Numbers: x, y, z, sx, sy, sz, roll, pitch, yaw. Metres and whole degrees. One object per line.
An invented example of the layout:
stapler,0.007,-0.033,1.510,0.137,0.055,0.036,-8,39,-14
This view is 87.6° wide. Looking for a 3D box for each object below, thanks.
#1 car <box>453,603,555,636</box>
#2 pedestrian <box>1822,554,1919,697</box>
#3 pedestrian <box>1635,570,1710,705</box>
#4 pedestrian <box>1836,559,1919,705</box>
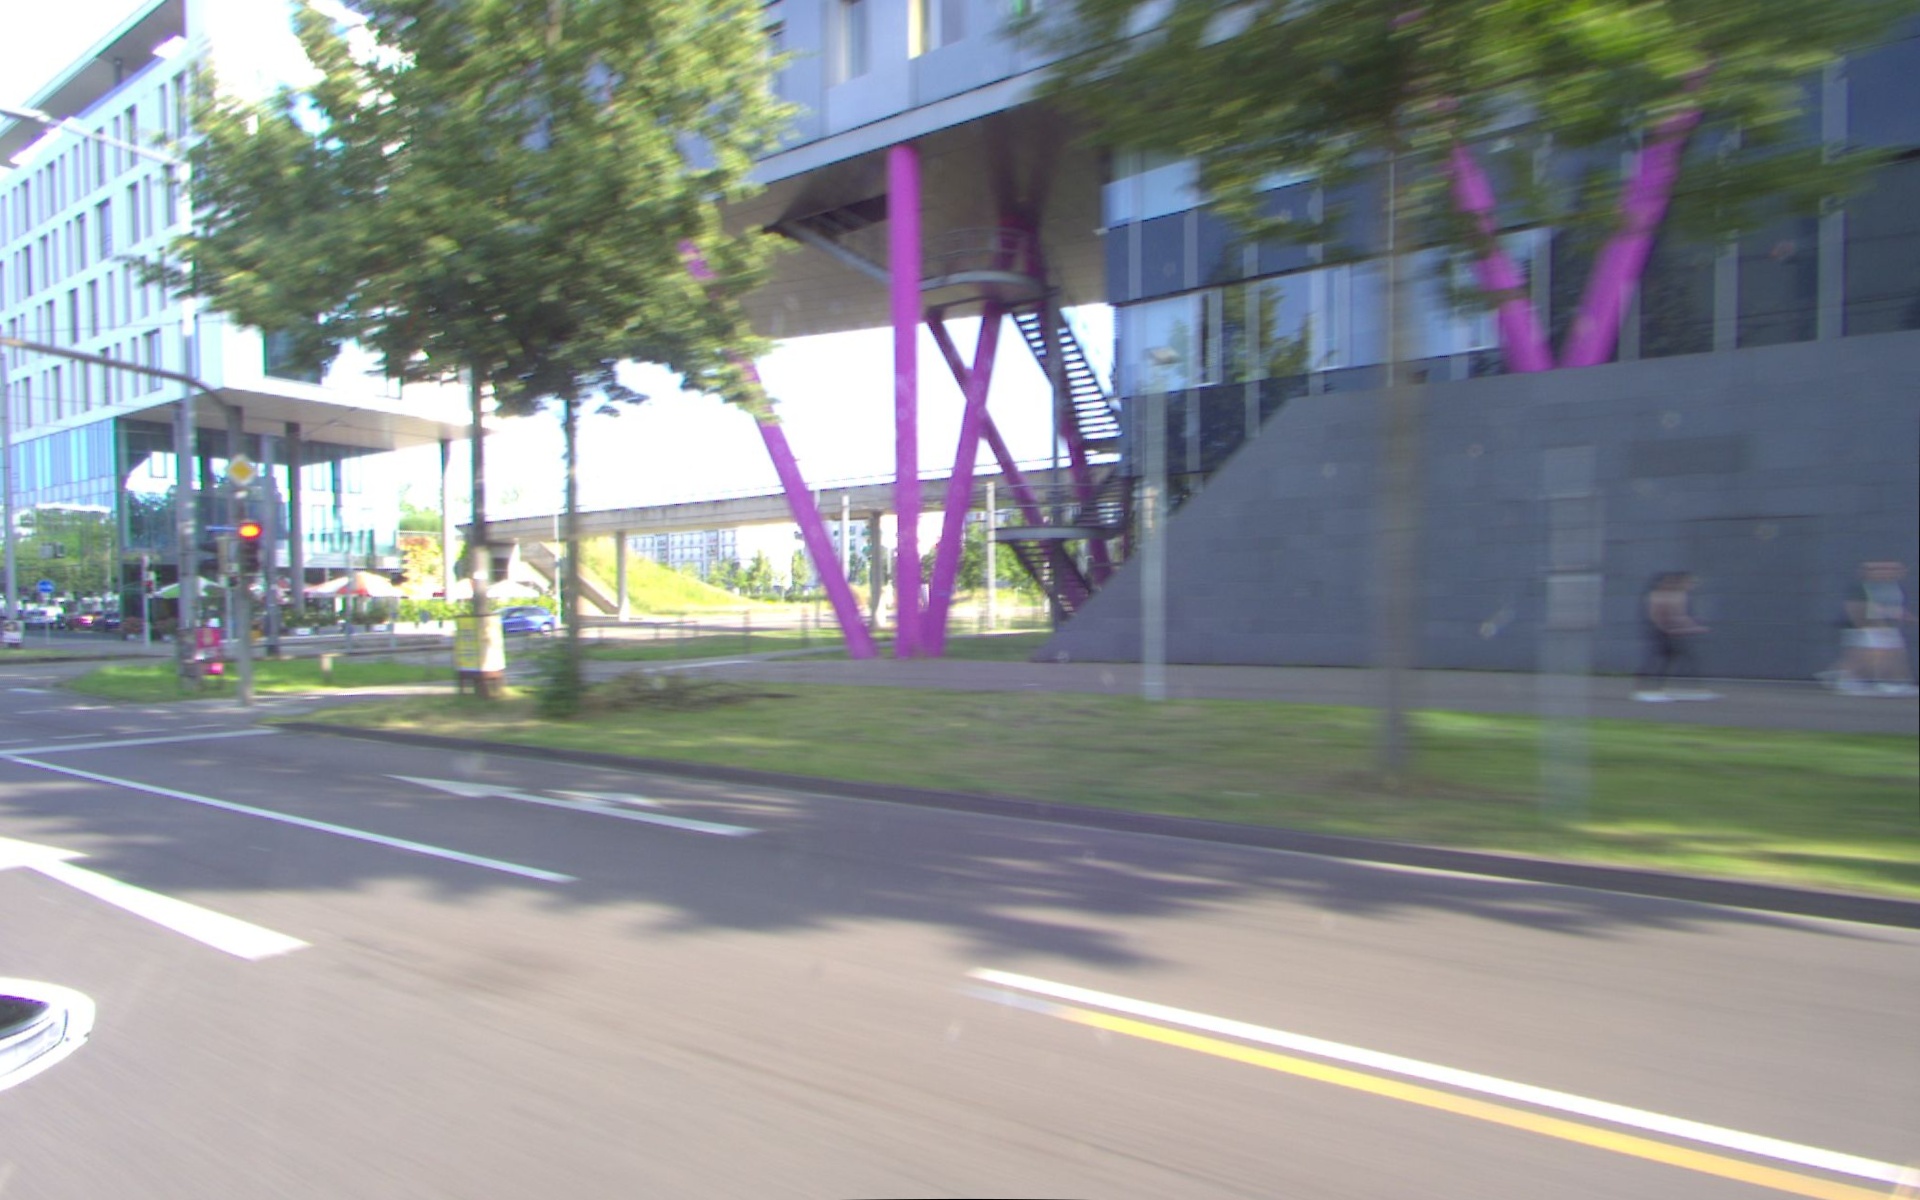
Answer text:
car,-21.853,0.885,48.129,1.832,1.443,4.175,0,1,32
pedestrian,12.244,0.314,13.468,0.840,1.850,0.766,0,3,32
pedestrian,9.079,0.459,12.787,0.726,1.661,0.692,0,2,32
pedestrian,11.956,0.389,12.922,0.831,1.818,0.752,0,3,32
